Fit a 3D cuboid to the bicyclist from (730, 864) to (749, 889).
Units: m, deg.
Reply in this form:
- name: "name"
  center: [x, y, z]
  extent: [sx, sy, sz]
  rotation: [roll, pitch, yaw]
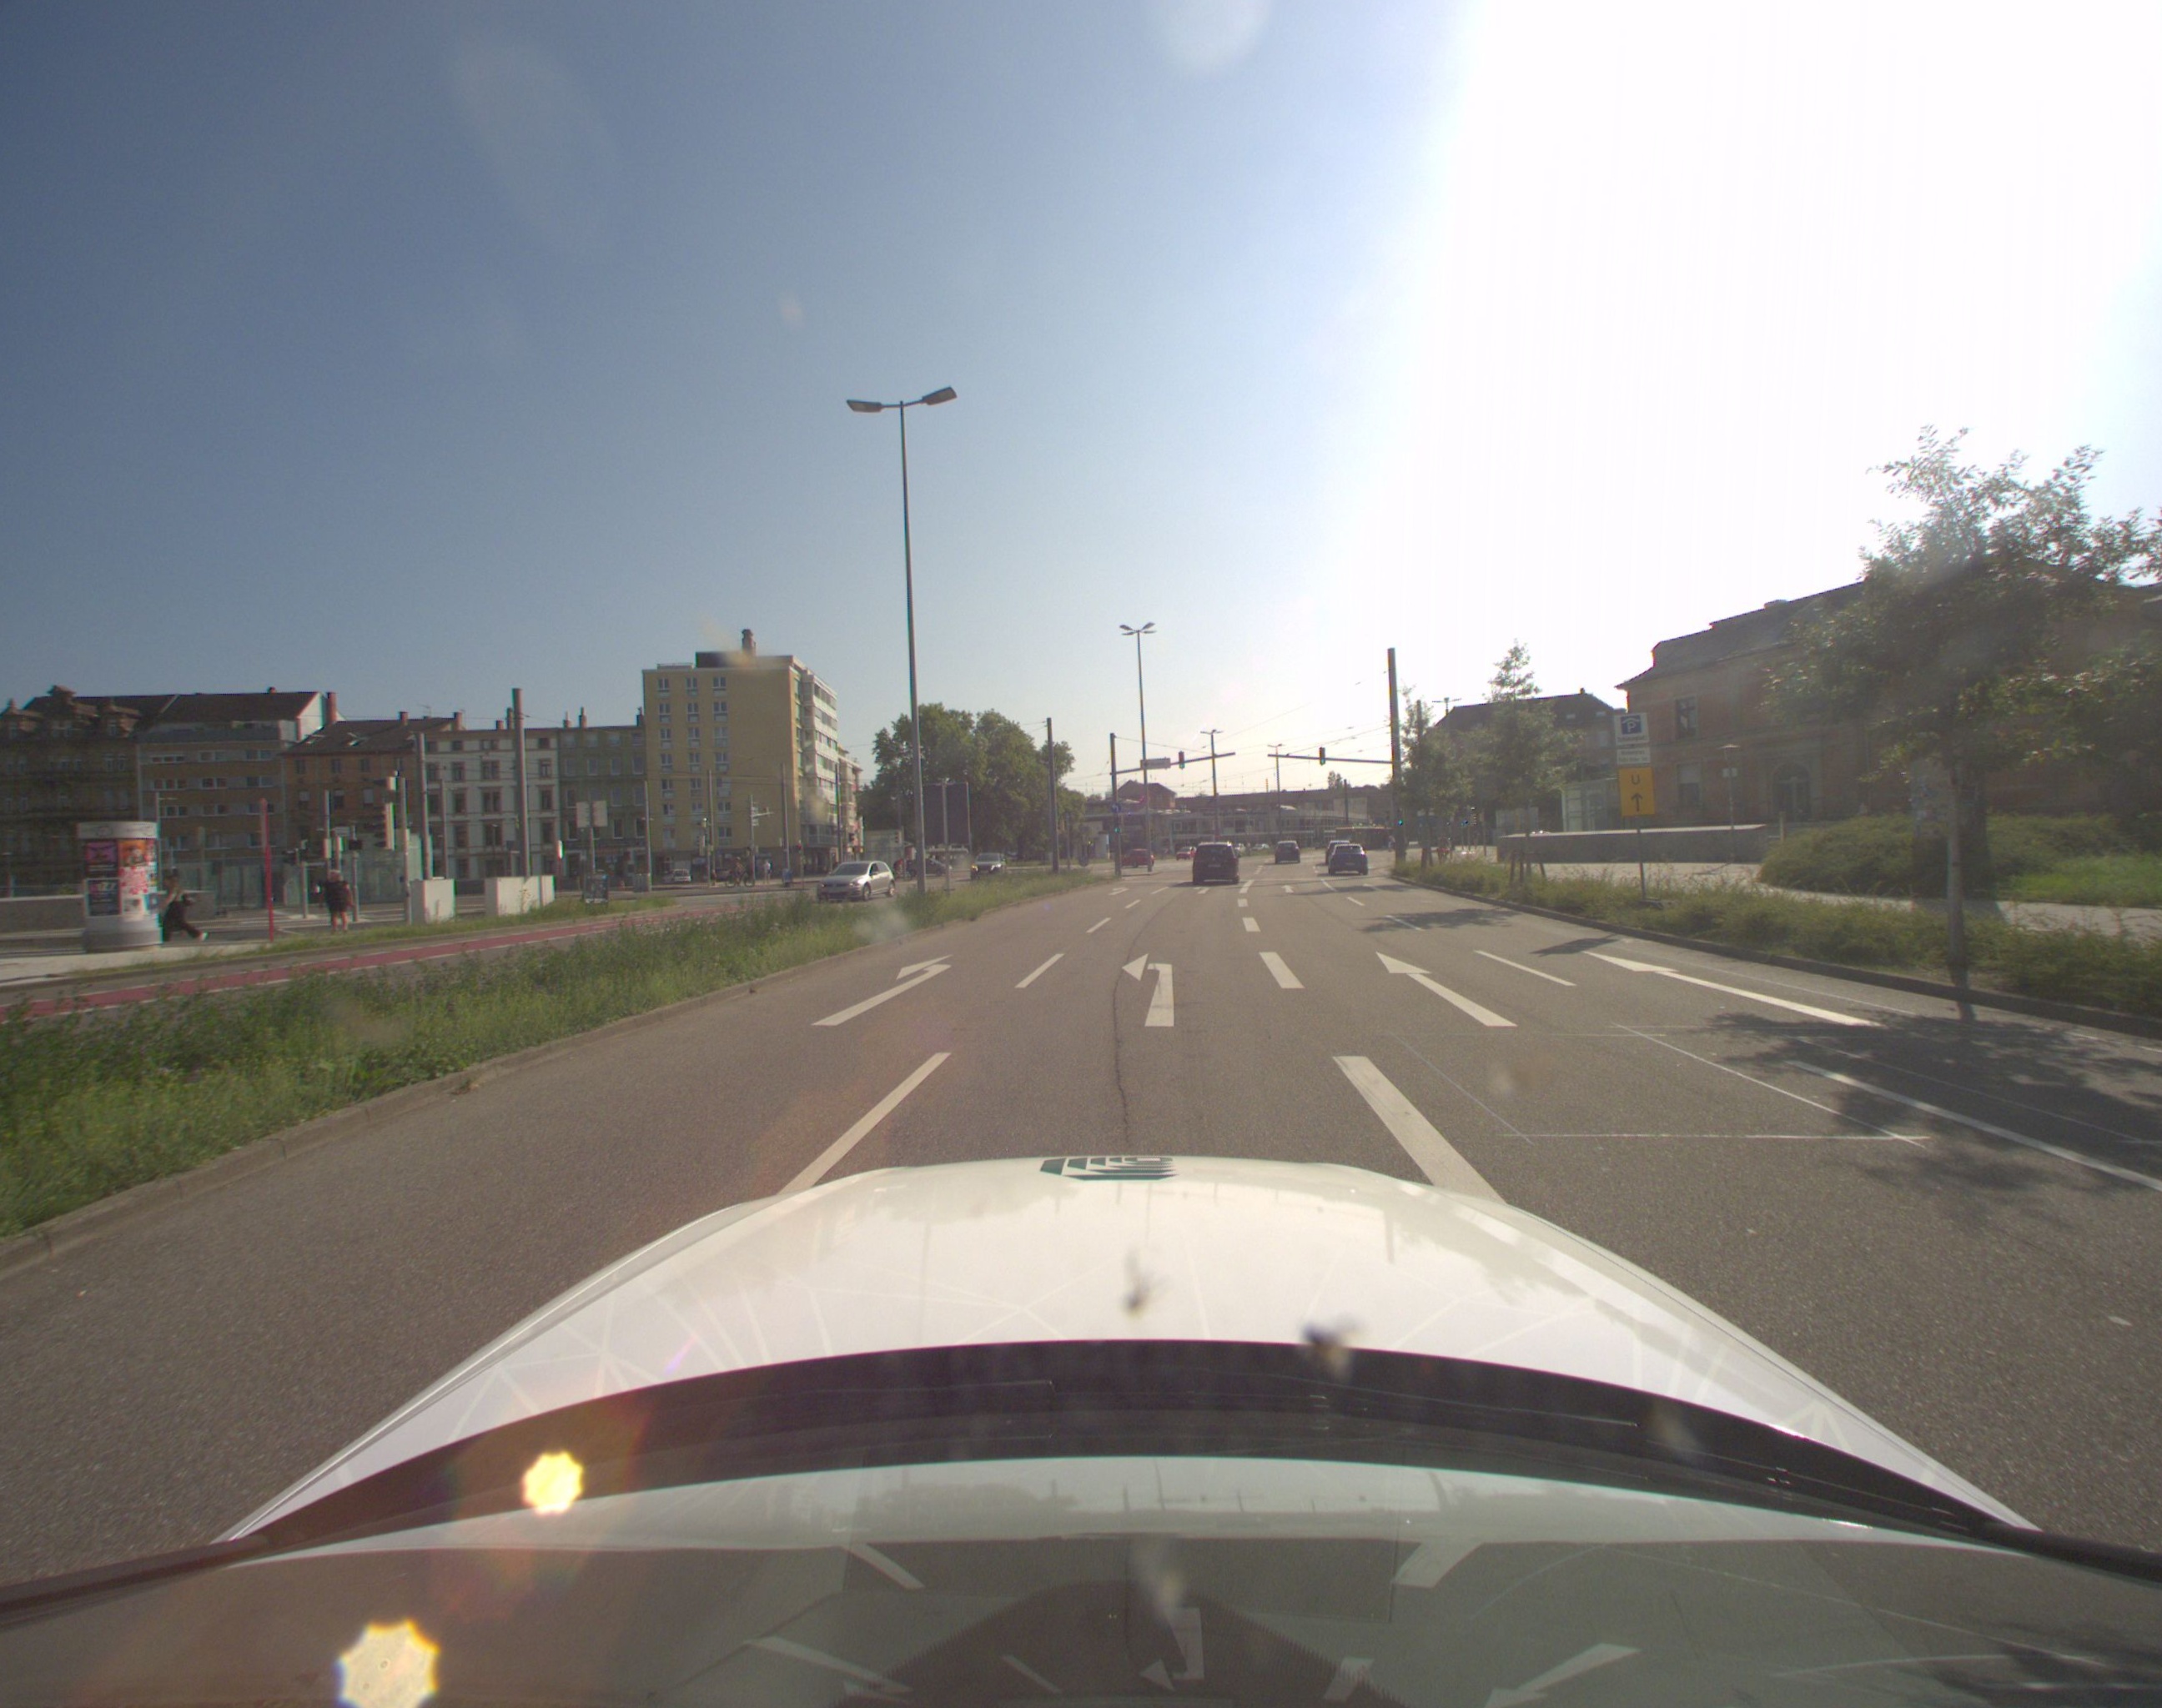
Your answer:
- name: "bicyclist"
  center: [-21.747, 1.403, 51.889]
  extent: [0.791, 1.527, 0.726]
  rotation: [-2, 0, 1]

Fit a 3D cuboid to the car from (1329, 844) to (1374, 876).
- name: "car"
  center: [13.755, 0.260, 41.570]
  extent: [1.812, 1.428, 4.430]
  rotation: [-3, 0, 14]

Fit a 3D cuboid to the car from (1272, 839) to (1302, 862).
- name: "car"
  center: [15.048, -0.280, 59.254]
  extent: [1.811, 1.535, 4.433]
  rotation: [-3, 0, 18]

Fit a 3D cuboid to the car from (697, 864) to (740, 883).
- name: "car"
  center: [-35.101, 1.887, 78.765]
  extent: [4.492, 1.678, 2.013]
  rotation: [-2, 0, 41]

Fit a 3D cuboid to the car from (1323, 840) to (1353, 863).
- name: "car"
  center: [17.466, -0.217, 55.502]
  extent: [1.811, 1.428, 4.432]
  rotation: [-3, 0, 16]

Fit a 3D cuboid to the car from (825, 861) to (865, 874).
- name: "car"
  center: [-26.901, 1.543, 92.896]
  extent: [4.152, 1.354, 1.478]
  rotation: [-2, 0, -7]

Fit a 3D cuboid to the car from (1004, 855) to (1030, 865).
- name: "car"
  center: [-11.047, 0.989, 140.874]
  extent: [1.683, 1.522, 4.542]
  rotation: [-2, 0, 43]

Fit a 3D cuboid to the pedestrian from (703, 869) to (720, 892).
- name: "pedestrian"
  center: [-28.469, 2.060, 62.756]
  extent: [0.920, 1.690, 0.921]
  rotation: [-2, 0, -5]

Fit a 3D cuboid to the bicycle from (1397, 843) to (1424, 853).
- name: "bicycle"
  center: [37.961, -0.676, 93.842]
  extent: [2.620, 0.964, 1.089]
  rotation: [-2, 0, -12]

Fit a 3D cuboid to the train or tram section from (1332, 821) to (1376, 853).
- name: "train or tram section"
  center: [34.298, -2.132, 102.022]
  extent: [2.629, 3.699, 10.658]
  rotation: [-3, 0, 33]

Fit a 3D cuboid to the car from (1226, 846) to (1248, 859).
- name: "car"
  center: [19.447, -0.224, 101.499]
  extent: [1.599, 1.475, 4.024]
  rotation: [-4, -1, 27]

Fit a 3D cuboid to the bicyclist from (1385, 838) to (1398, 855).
- name: "bicyclist"
  center: [35.350, -0.840, 92.773]
  extent: [0.934, 1.799, 1.089]
  rotation: [-2, 0, -11]

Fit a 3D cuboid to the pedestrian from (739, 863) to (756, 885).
- name: "pedestrian"
  center: [-26.075, 1.573, 63.610]
  extent: [0.920, 1.690, 0.921]
  rotation: [-2, 0, -5]

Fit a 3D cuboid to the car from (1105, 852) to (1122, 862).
- name: "car"
  center: [5.455, 0.495, 135.728]
  extent: [1.686, 1.522, 4.117]
  rotation: [-2, 0, 17]

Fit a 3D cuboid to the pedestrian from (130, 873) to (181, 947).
- name: "pedestrian"
  center: [-23.291, 1.392, 20.515]
  extent: [0.789, 1.800, 0.785]
  rotation: [-3, 0, 42]

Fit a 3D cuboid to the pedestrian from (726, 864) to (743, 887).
- name: "pedestrian"
  center: [-27.161, 1.687, 63.798]
  extent: [0.920, 1.690, 0.921]
  rotation: [-2, 0, -5]

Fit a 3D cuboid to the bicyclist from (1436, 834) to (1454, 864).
- name: "bicyclist"
  center: [18.738, -0.257, 41.946]
  extent: [0.713, 1.513, 1.009]
  rotation: [-3, 0, 18]

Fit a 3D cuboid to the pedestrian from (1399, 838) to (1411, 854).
- name: "pedestrian"
  center: [36.387, -0.912, 91.484]
  extent: [0.930, 1.797, 0.852]
  rotation: [-2, 0, -29]

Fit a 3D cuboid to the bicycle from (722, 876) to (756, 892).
- name: "bicycle"
  center: [-21.786, 1.912, 51.895]
  extent: [1.806, 0.932, 0.726]
  rotation: [-2, 0, 0]

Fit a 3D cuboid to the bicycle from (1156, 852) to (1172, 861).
- name: "bicycle"
  center: [9.657, 0.285, 94.881]
  extent: [0.948, 1.057, 2.624]
  rotation: [-2, 0, 28]

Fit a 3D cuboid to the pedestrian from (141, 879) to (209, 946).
- name: "pedestrian"
  center: [-22.241, 1.416, 20.015]
  extent: [0.996, 1.559, 0.855]
  rotation: [-2, 0, -44]

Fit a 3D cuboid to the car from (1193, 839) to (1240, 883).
- name: "car"
  center: [5.759, 0.235, 34.358]
  extent: [1.814, 1.714, 4.425]
  rotation: [-1, 1, 10]

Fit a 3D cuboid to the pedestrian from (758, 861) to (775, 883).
- name: "pedestrian"
  center: [-24.491, 1.383, 63.421]
  extent: [0.920, 1.690, 0.921]
  rotation: [-2, 0, -5]

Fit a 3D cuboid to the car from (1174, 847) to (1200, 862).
- name: "car"
  center: [12.299, 0.030, 94.227]
  extent: [1.599, 1.475, 4.024]
  rotation: [-4, -1, 27]

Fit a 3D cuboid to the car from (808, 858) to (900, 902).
- name: "car"
  center: [-8.399, 0.915, 30.517]
  extent: [1.804, 1.433, 4.232]
  rotation: [-2, 0, 6]

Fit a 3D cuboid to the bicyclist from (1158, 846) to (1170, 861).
- name: "bicyclist"
  center: [9.633, -0.048, 94.856]
  extent: [0.948, 1.748, 1.173]
  rotation: [-2, 0, 28]

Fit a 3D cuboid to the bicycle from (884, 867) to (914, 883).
- name: "bicycle"
  center: [-11.947, 1.367, 53.496]
  extent: [1.806, 0.932, 0.726]
  rotation: [-2, 0, 0]

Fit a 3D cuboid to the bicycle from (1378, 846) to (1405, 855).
- name: "bicycle"
  center: [35.382, -0.419, 92.779]
  extent: [2.620, 0.964, 1.089]
  rotation: [-2, 0, -12]

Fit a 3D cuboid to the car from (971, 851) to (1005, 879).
- name: "car"
  center: [-5.801, 0.667, 51.121]
  extent: [1.689, 1.617, 4.458]
  rotation: [-2, 0, -2]

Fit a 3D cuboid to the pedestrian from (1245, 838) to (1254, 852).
- name: "pedestrian"
  center: [18.886, -0.969, 91.149]
  extent: [0.770, 1.503, 0.714]
  rotation: [-2, 0, 24]

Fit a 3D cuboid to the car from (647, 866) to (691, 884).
- name: "car"
  center: [-39.789, 2.039, 78.656]
  extent: [4.491, 1.678, 2.013]
  rotation: [-2, 0, 37]

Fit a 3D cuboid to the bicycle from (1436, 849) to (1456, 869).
- name: "bicycle"
  center: [18.756, 0.227, 41.930]
  extent: [0.713, 0.959, 1.931]
  rotation: [-3, 0, 18]

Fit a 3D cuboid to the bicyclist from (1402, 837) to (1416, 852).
- name: "bicyclist"
  center: [37.757, -1.035, 93.794]
  extent: [0.934, 1.680, 1.089]
  rotation: [-2, 0, -11]

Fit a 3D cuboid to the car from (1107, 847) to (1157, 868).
- name: "car"
  center: [4.067, 0.283, 65.516]
  extent: [1.837, 1.535, 4.370]
  rotation: [-3, 0, -29]

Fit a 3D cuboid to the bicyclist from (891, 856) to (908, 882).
- name: "bicyclist"
  center: [-11.937, 0.983, 53.500]
  extent: [0.878, 1.652, 0.726]
  rotation: [-2, 0, 1]

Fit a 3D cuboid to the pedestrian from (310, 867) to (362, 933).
- name: "pedestrian"
  center: [-21.158, 1.283, 23.143]
  extent: [0.774, 1.800, 0.702]
  rotation: [-2, 0, 4]
